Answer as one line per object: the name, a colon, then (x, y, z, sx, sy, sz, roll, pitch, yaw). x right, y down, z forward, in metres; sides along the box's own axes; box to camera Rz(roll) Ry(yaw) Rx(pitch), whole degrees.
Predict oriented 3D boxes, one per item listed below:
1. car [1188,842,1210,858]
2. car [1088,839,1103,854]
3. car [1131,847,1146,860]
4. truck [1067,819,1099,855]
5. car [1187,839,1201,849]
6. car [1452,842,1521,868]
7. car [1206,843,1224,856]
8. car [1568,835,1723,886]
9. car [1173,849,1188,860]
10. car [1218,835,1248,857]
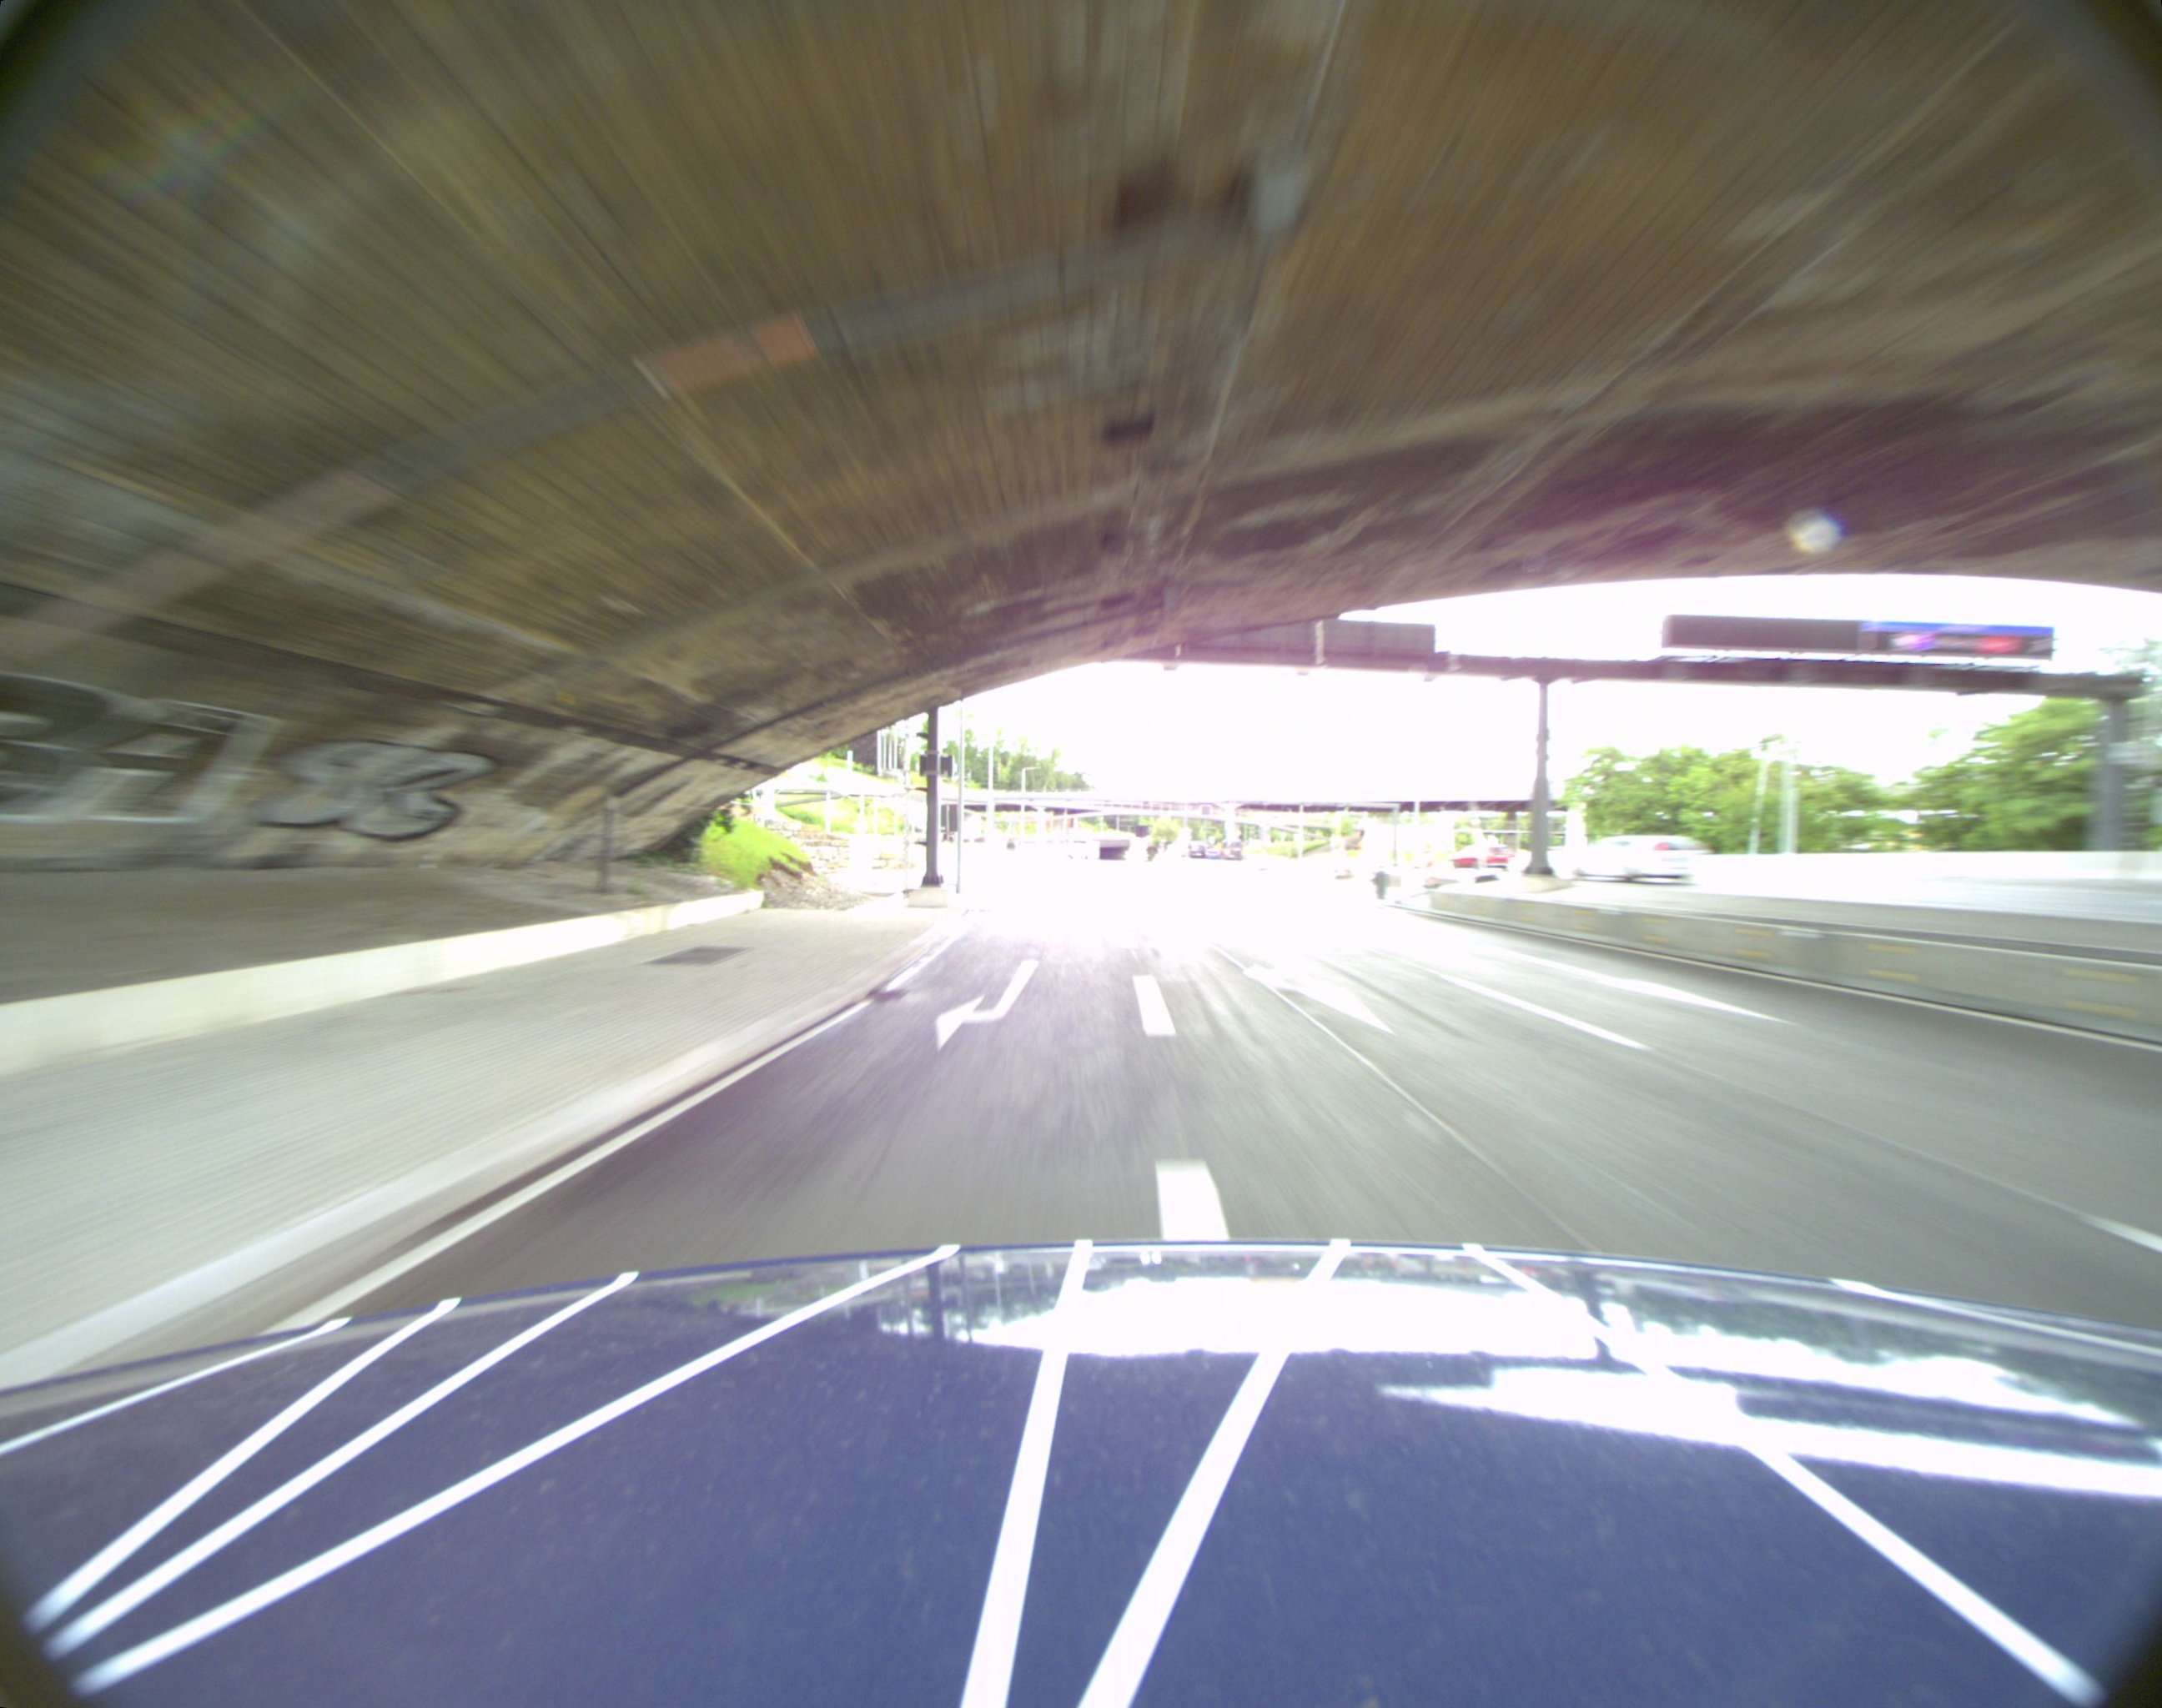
car: (15.040, -0.524, 97.162, 2.019, 1.963, 4.719, -1, 1, 0)
car: (2.014, -1.013, 106.421, 1.999, 2.002, 4.000, -3, 0, -1)
car: (8.079, -0.054, 107.399, 1.867, 1.827, 4.206, 0, 0, 1)
truck: (0.167, -1.786, 83.562, 3.033, 3.566, 8.949, -3, 0, -2)
car: (17.501, -1.585, 118.086, 1.639, 1.455, 4.000, -3, 0, 2)
car: (24.981, 0.046, 46.998, 1.822, 1.527, 4.399, -1, 0, -1)
car: (19.887, -0.693, 113.111, 1.999, 1.805, 3.999, -1, 0, 0)
car: (18.440, 0.177, 25.112, 1.842, 1.527, 4.400, -1, 0, -1)
car: (16.360, 0.072, 125.238, 1.998, 1.641, 4.001, -3, 0, 3)
car: (18.155, -0.986, 91.330, 2.295, 2.476, 6.195, -1, 0, 0)
